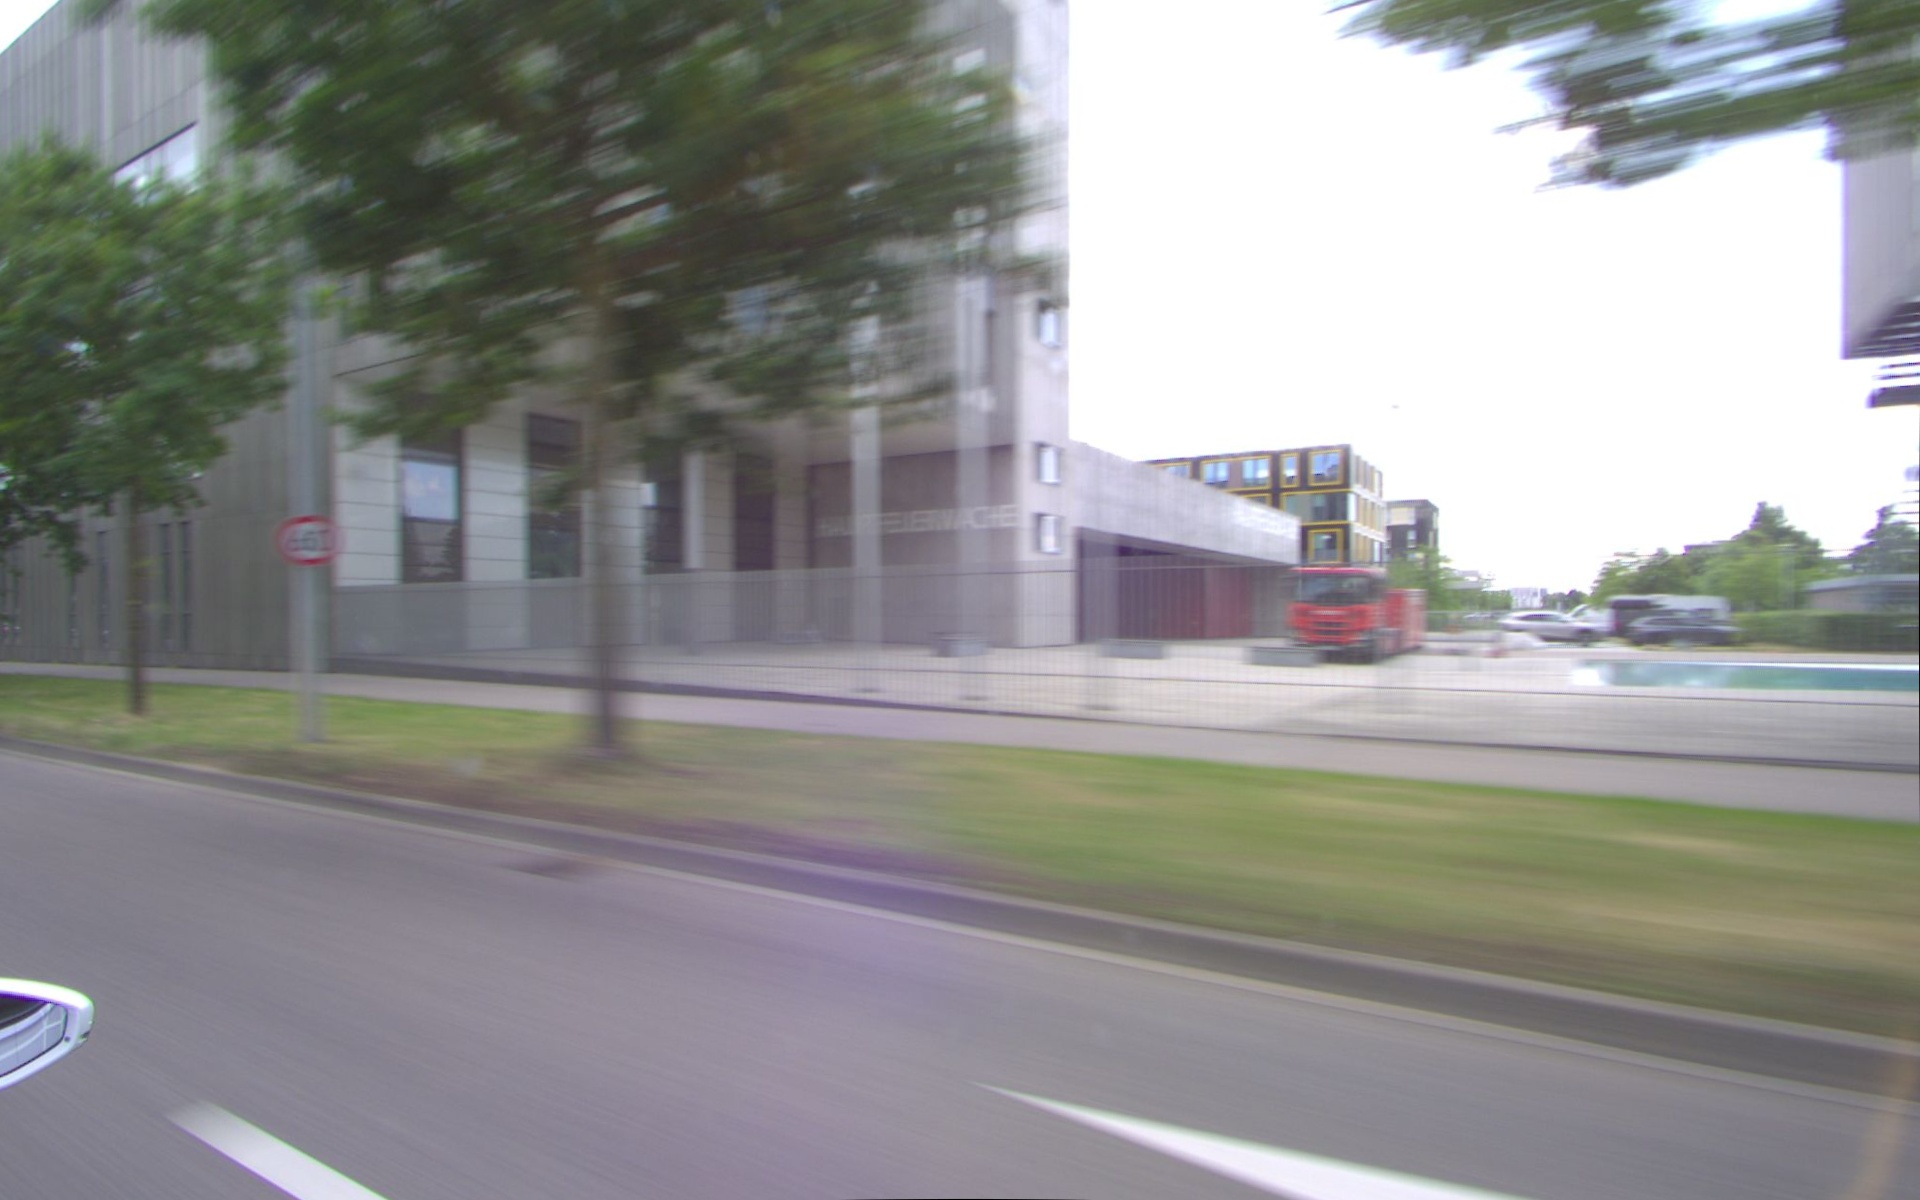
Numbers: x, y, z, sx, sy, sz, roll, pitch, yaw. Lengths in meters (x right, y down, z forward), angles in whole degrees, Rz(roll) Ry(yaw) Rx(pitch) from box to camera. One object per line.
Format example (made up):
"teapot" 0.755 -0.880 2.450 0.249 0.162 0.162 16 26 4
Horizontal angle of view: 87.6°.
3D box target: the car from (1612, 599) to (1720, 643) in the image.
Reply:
"car" 34.784 1.041 49.469 4.253 2.111 1.990 0 -2 33

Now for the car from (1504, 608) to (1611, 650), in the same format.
"car" 28.321 1.430 47.493 4.254 1.896 1.990 -2 -3 33

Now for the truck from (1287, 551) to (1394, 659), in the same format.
"truck" 12.249 0.278 32.002 2.285 3.107 5.687 -1 -3 30

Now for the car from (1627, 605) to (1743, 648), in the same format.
"car" 34.005 1.291 47.112 4.254 1.896 1.990 -2 -3 33
